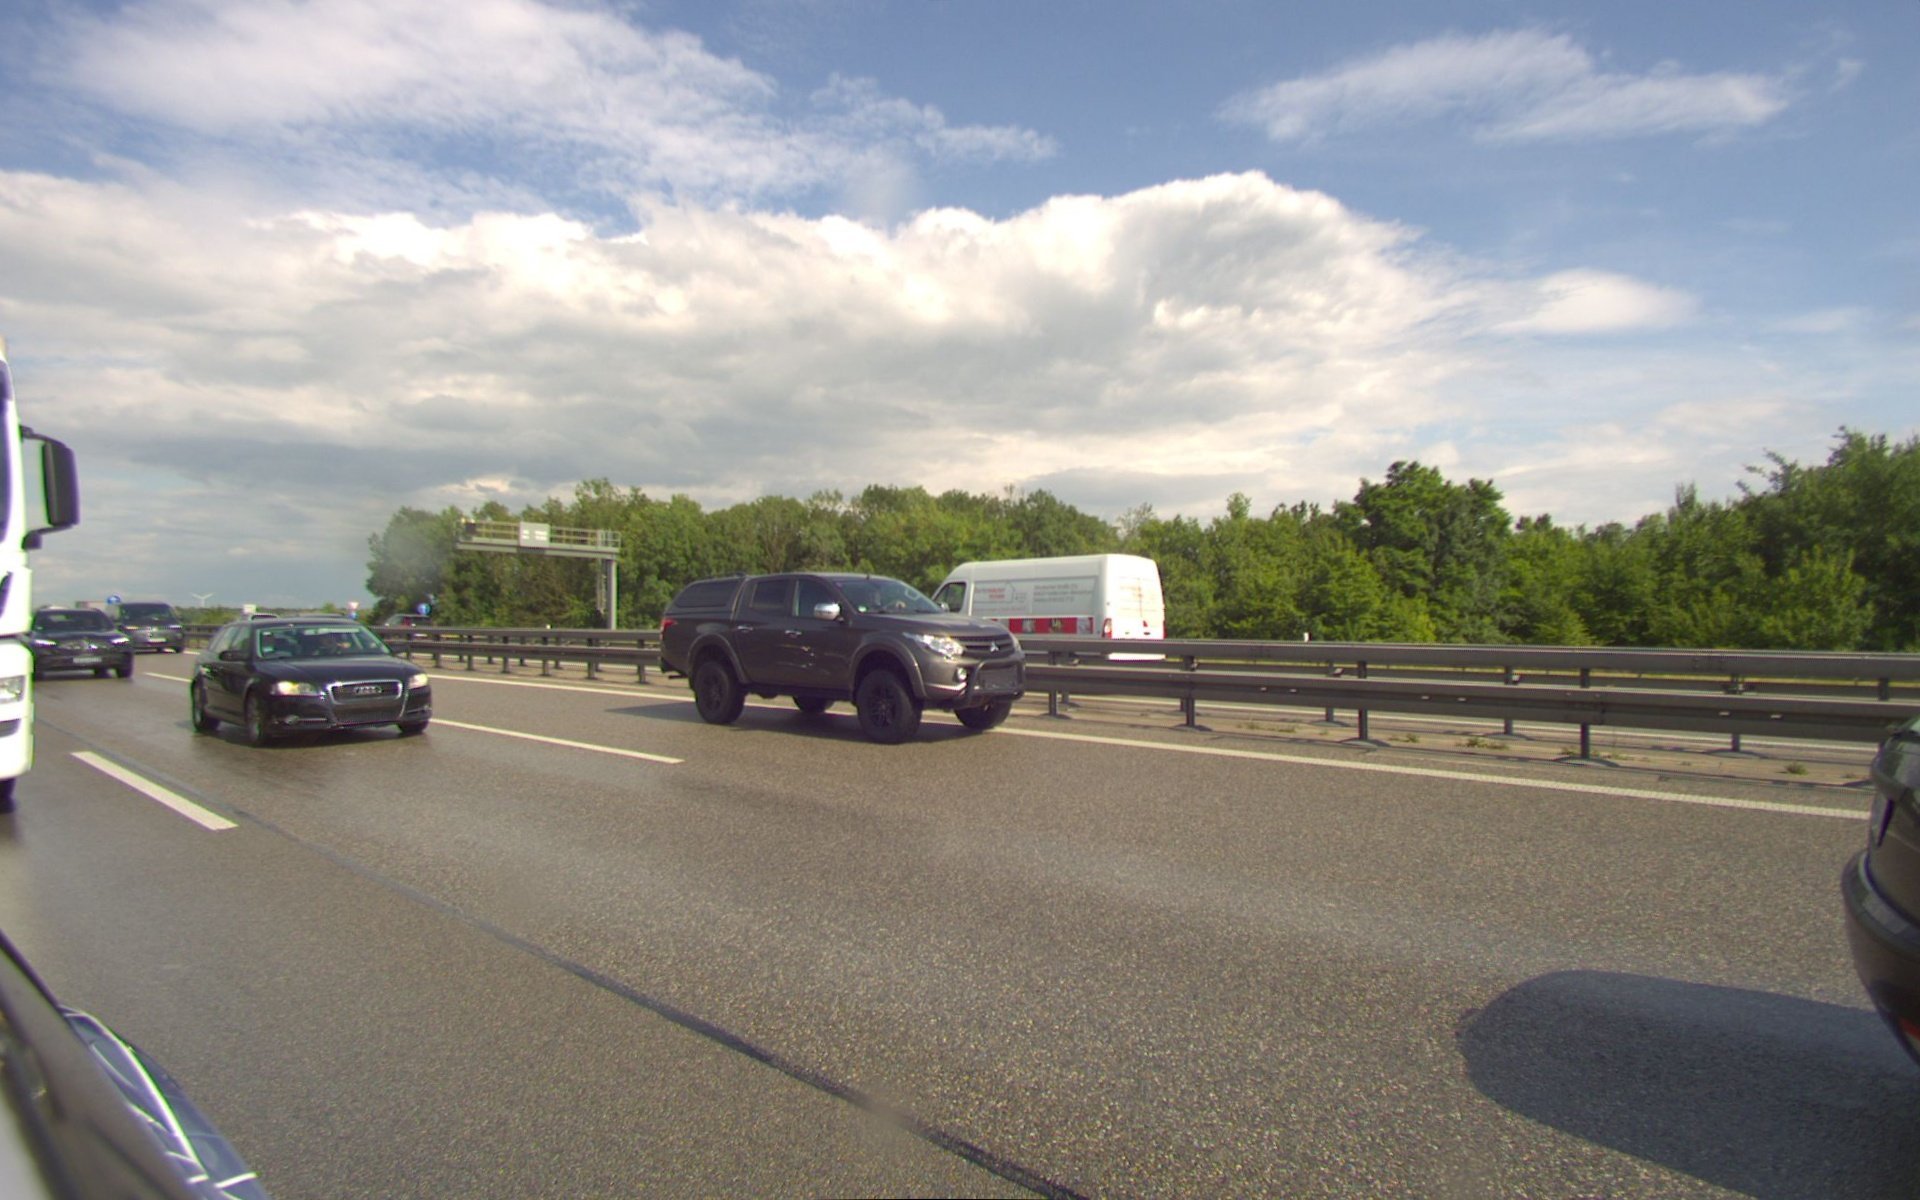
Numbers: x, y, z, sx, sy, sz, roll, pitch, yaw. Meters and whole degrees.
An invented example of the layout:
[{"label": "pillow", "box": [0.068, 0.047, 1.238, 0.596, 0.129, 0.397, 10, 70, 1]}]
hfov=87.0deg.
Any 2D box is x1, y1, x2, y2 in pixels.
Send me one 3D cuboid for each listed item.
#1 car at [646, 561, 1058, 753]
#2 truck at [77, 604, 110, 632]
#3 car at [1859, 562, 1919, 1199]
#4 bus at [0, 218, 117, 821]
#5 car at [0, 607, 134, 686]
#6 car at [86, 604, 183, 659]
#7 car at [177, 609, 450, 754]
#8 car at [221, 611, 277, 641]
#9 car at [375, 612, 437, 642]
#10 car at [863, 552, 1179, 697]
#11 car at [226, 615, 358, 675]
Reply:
[{"label": "car", "box": [-1.542, 0.586, 12.245, 5.416, 1.858, 1.787, -1, -1, 42]}, {"label": "truck", "box": [-124.285, 2.541, 145.140, 8.919, 3.913, 2.762, -1, -1, 44]}, {"label": "car", "box": [4.136, 0.609, 1.610, 3.999, 1.454, 1.740, -1, -1, 42]}, {"label": "bus", "box": [-10.842, -0.478, 9.604, 9.840, 4.159, 2.867, -1, 0, 41]}, {"label": "car", "box": [-21.320, 1.042, 24.008, 4.623, 1.692, 1.857, -1, -1, 40]}, {"label": "car", "box": [-31.494, 1.155, 38.560, 5.233, 1.932, 1.973, -1, -1, 41]}, {"label": "car", "box": [-7.887, 0.859, 12.198, 4.052, 1.444, 1.732, -1, -1, 42]}, {"label": "car", "box": [-38.075, 1.384, 54.188, 3.702, 1.497, 1.659, -1, -1, 41]}, {"label": "car", "box": [-28.115, 1.361, 51.307, 3.635, 1.444, 1.731, -1, -1, 43]}, {"label": "car", "box": [0.995, 0.449, 19.596, 6.100, 2.414, 2.092, -1, -1, 41]}, {"label": "car", "box": [-17.627, 1.118, 26.625, 4.371, 1.435, 1.899, -1, -1, 42]}]
